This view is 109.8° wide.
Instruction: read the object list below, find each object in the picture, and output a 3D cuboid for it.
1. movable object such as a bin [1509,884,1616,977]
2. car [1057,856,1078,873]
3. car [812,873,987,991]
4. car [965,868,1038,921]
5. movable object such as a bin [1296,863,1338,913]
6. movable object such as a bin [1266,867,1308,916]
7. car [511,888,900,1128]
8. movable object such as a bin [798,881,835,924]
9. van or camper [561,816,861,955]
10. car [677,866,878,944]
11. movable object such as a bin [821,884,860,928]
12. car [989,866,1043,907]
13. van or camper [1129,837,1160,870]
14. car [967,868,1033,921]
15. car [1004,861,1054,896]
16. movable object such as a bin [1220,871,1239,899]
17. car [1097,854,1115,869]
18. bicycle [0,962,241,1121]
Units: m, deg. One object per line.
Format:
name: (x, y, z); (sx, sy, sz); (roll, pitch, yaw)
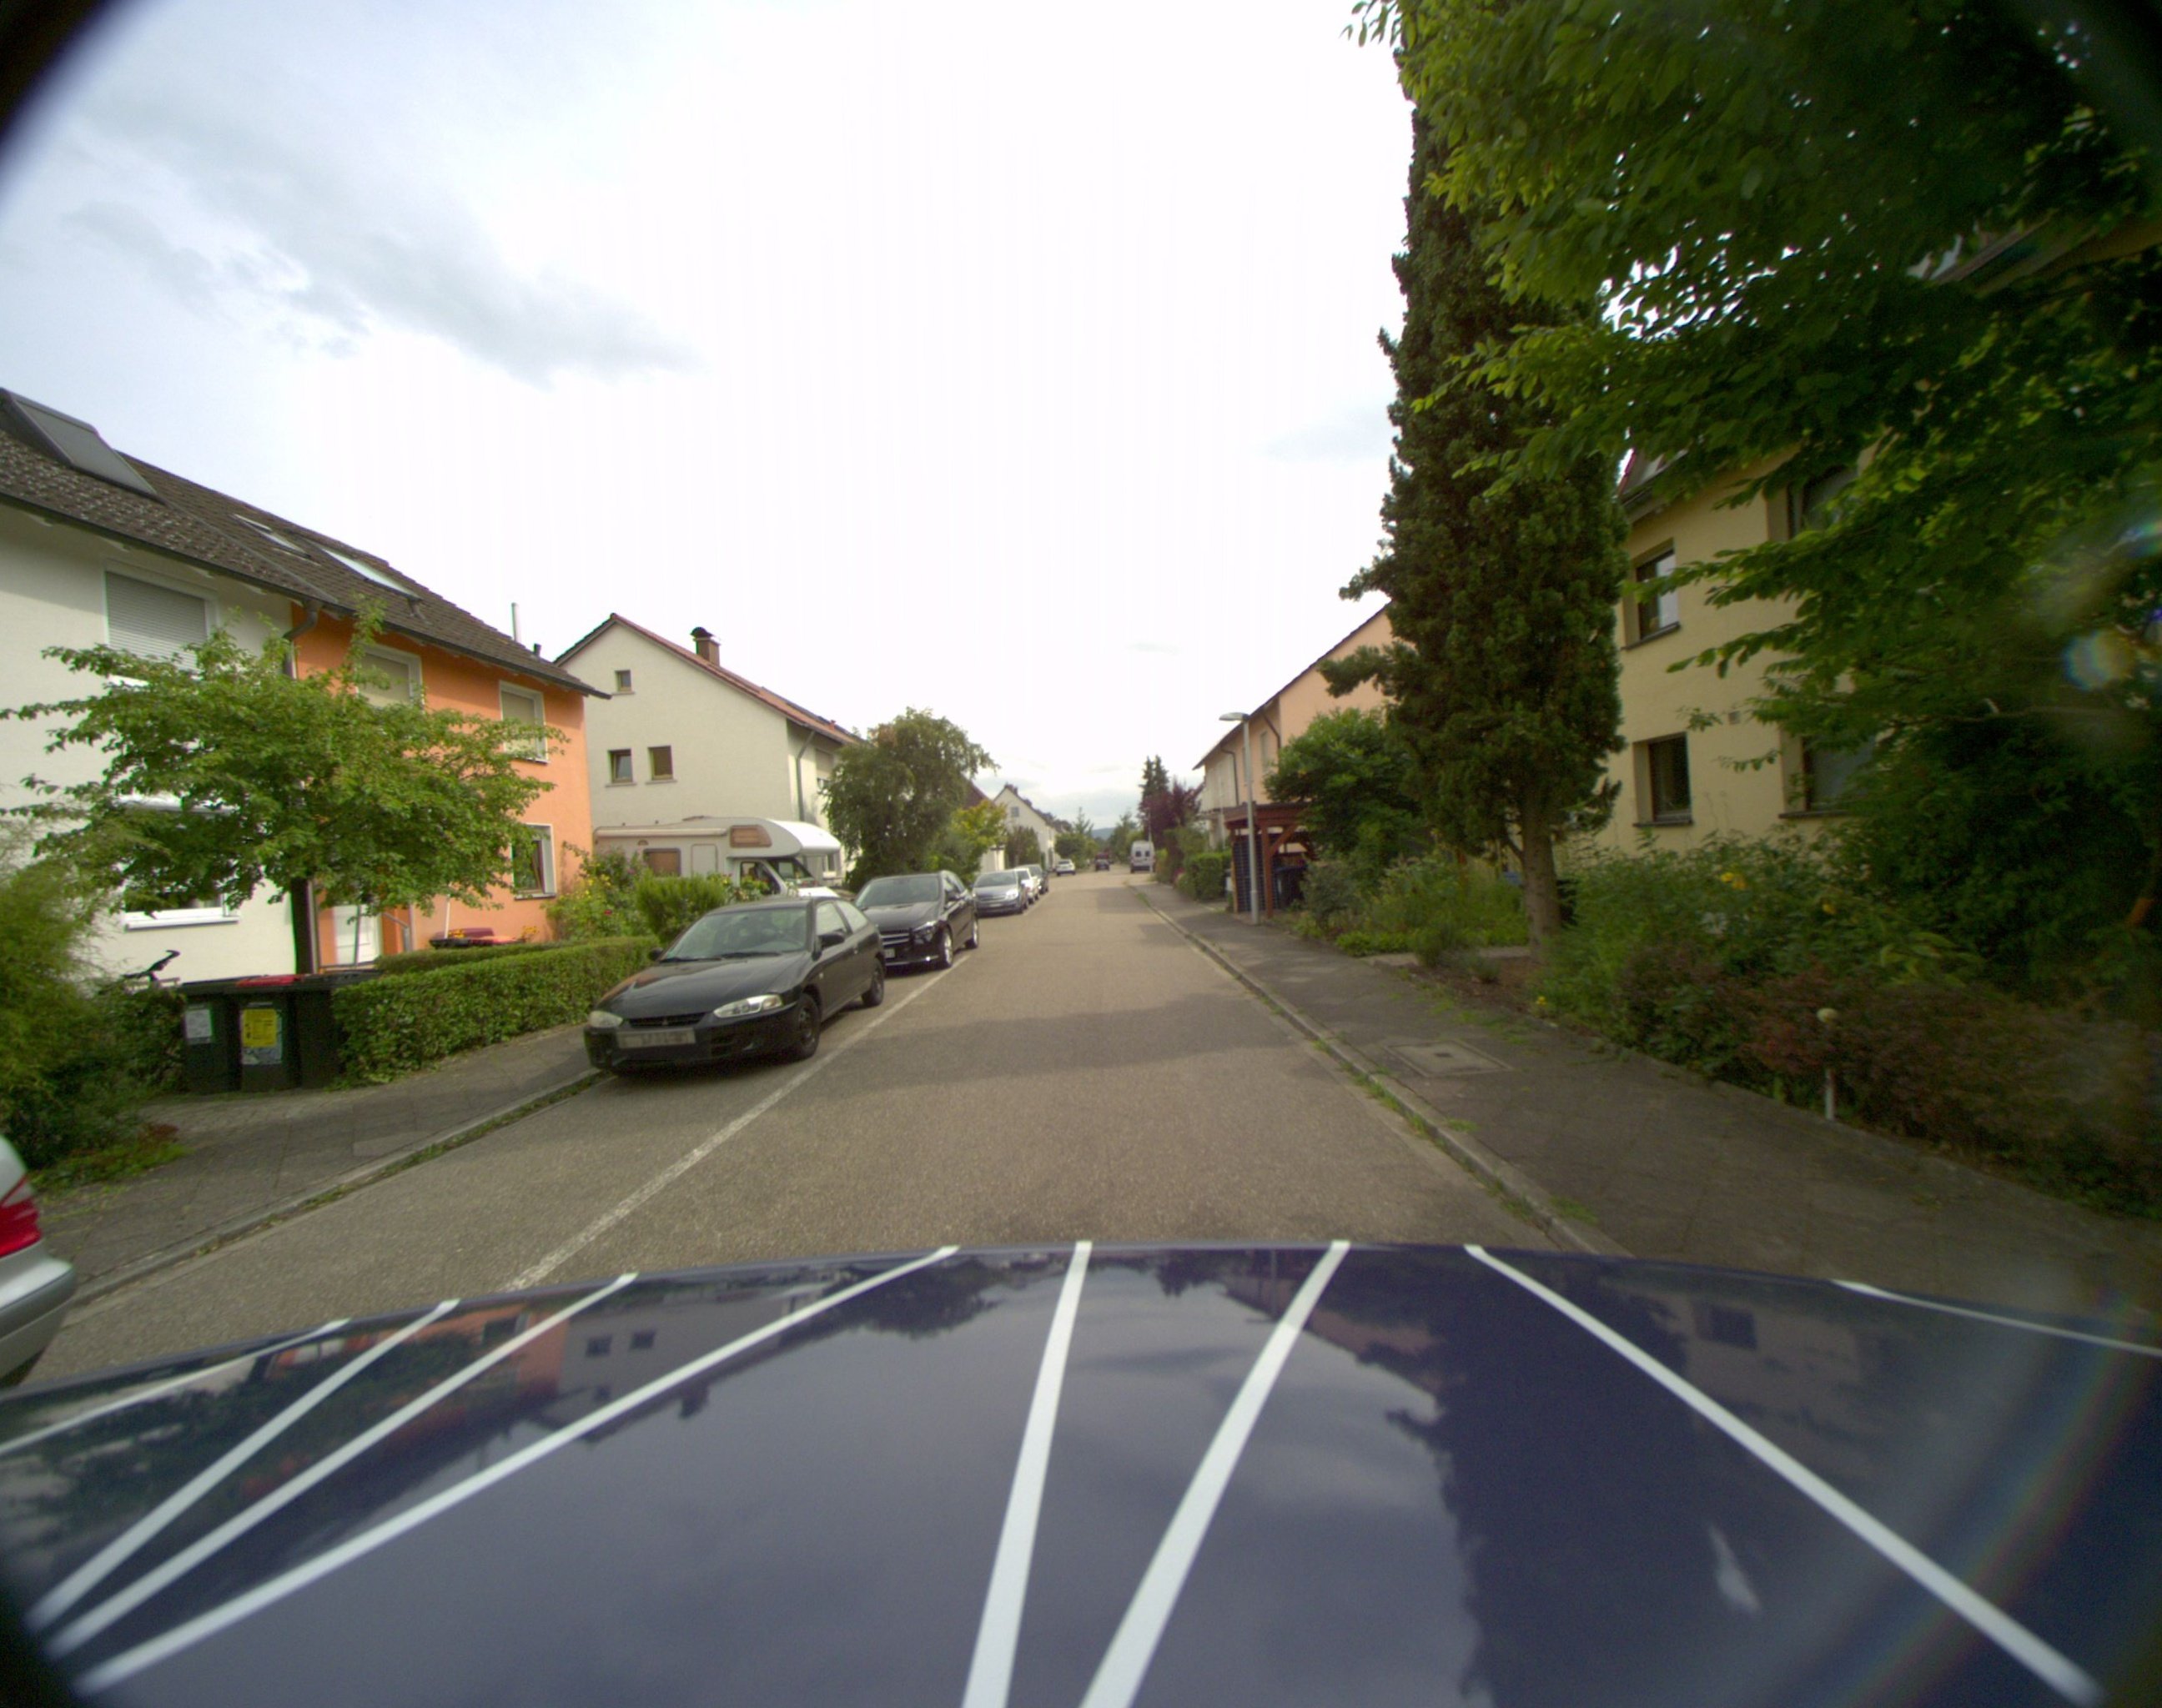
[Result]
movable object such as a bin: (5.472, 0.856, 8.679); (0.713, 0.951, 0.751); (-3, 0, 1)
car: (-1.440, 1.057, 78.271); (1.999, 1.589, 3.999); (-4, 0, -2)
car: (-2.872, 1.170, 13.144); (1.753, 1.458, 4.648); (-4, 0, 1)
car: (-2.573, 1.288, 25.572); (1.746, 1.462, 4.218); (-3, 0, 2)
movable object such as a bin: (5.653, 0.803, 18.257); (0.705, 1.123, 0.877); (-3, 0, 1)
movable object such as a bin: (4.927, 0.887, 18.250); (0.705, 1.065, 0.822); (-5, 0, 1)
car: (-3.171, 1.192, 7.491); (1.737, 1.419, 4.125); (-4, 0, -1)
movable object such as a bin: (-7.879, 1.437, 22.662); (0.655, 1.169, 1.142); (-3, 0, 1)
van or camper: (-8.625, 0.730, 18.125); (5.811, 2.801, 2.538); (-3, 0, 4)
car: (-8.062, 1.339, 20.443); (4.541, 1.698, 1.900); (-4, 0, 4)
movable object such as a bin: (-7.160, 1.539, 22.650); (0.721, 1.187, 1.099); (-3, 0, 2)
car: (-2.572, 1.273, 31.060); (1.697, 1.357, 4.698); (-4, 0, 1)
van or camper: (5.627, -0.039, 68.350); (2.346, 2.719, 5.748); (-4, 0, 2)
car: (-2.612, 1.279, 25.465); (1.707, 1.433, 4.220); (-5, 0, -1)
car: (-2.509, 1.155, 37.749); (1.872, 1.431, 4.851); (-4, 0, 2)
movable object such as a bin: (4.846, 0.996, 24.797); (0.497, 0.876, 0.530); (-3, 0, 1)
car: (3.199, 0.973, 98.185); (1.998, 1.696, 4.001); (-4, 0, 5)
bicycle: (-8.454, 1.563, 6.649); (0.662, 0.976, 1.750); (-3, 0, -18)
